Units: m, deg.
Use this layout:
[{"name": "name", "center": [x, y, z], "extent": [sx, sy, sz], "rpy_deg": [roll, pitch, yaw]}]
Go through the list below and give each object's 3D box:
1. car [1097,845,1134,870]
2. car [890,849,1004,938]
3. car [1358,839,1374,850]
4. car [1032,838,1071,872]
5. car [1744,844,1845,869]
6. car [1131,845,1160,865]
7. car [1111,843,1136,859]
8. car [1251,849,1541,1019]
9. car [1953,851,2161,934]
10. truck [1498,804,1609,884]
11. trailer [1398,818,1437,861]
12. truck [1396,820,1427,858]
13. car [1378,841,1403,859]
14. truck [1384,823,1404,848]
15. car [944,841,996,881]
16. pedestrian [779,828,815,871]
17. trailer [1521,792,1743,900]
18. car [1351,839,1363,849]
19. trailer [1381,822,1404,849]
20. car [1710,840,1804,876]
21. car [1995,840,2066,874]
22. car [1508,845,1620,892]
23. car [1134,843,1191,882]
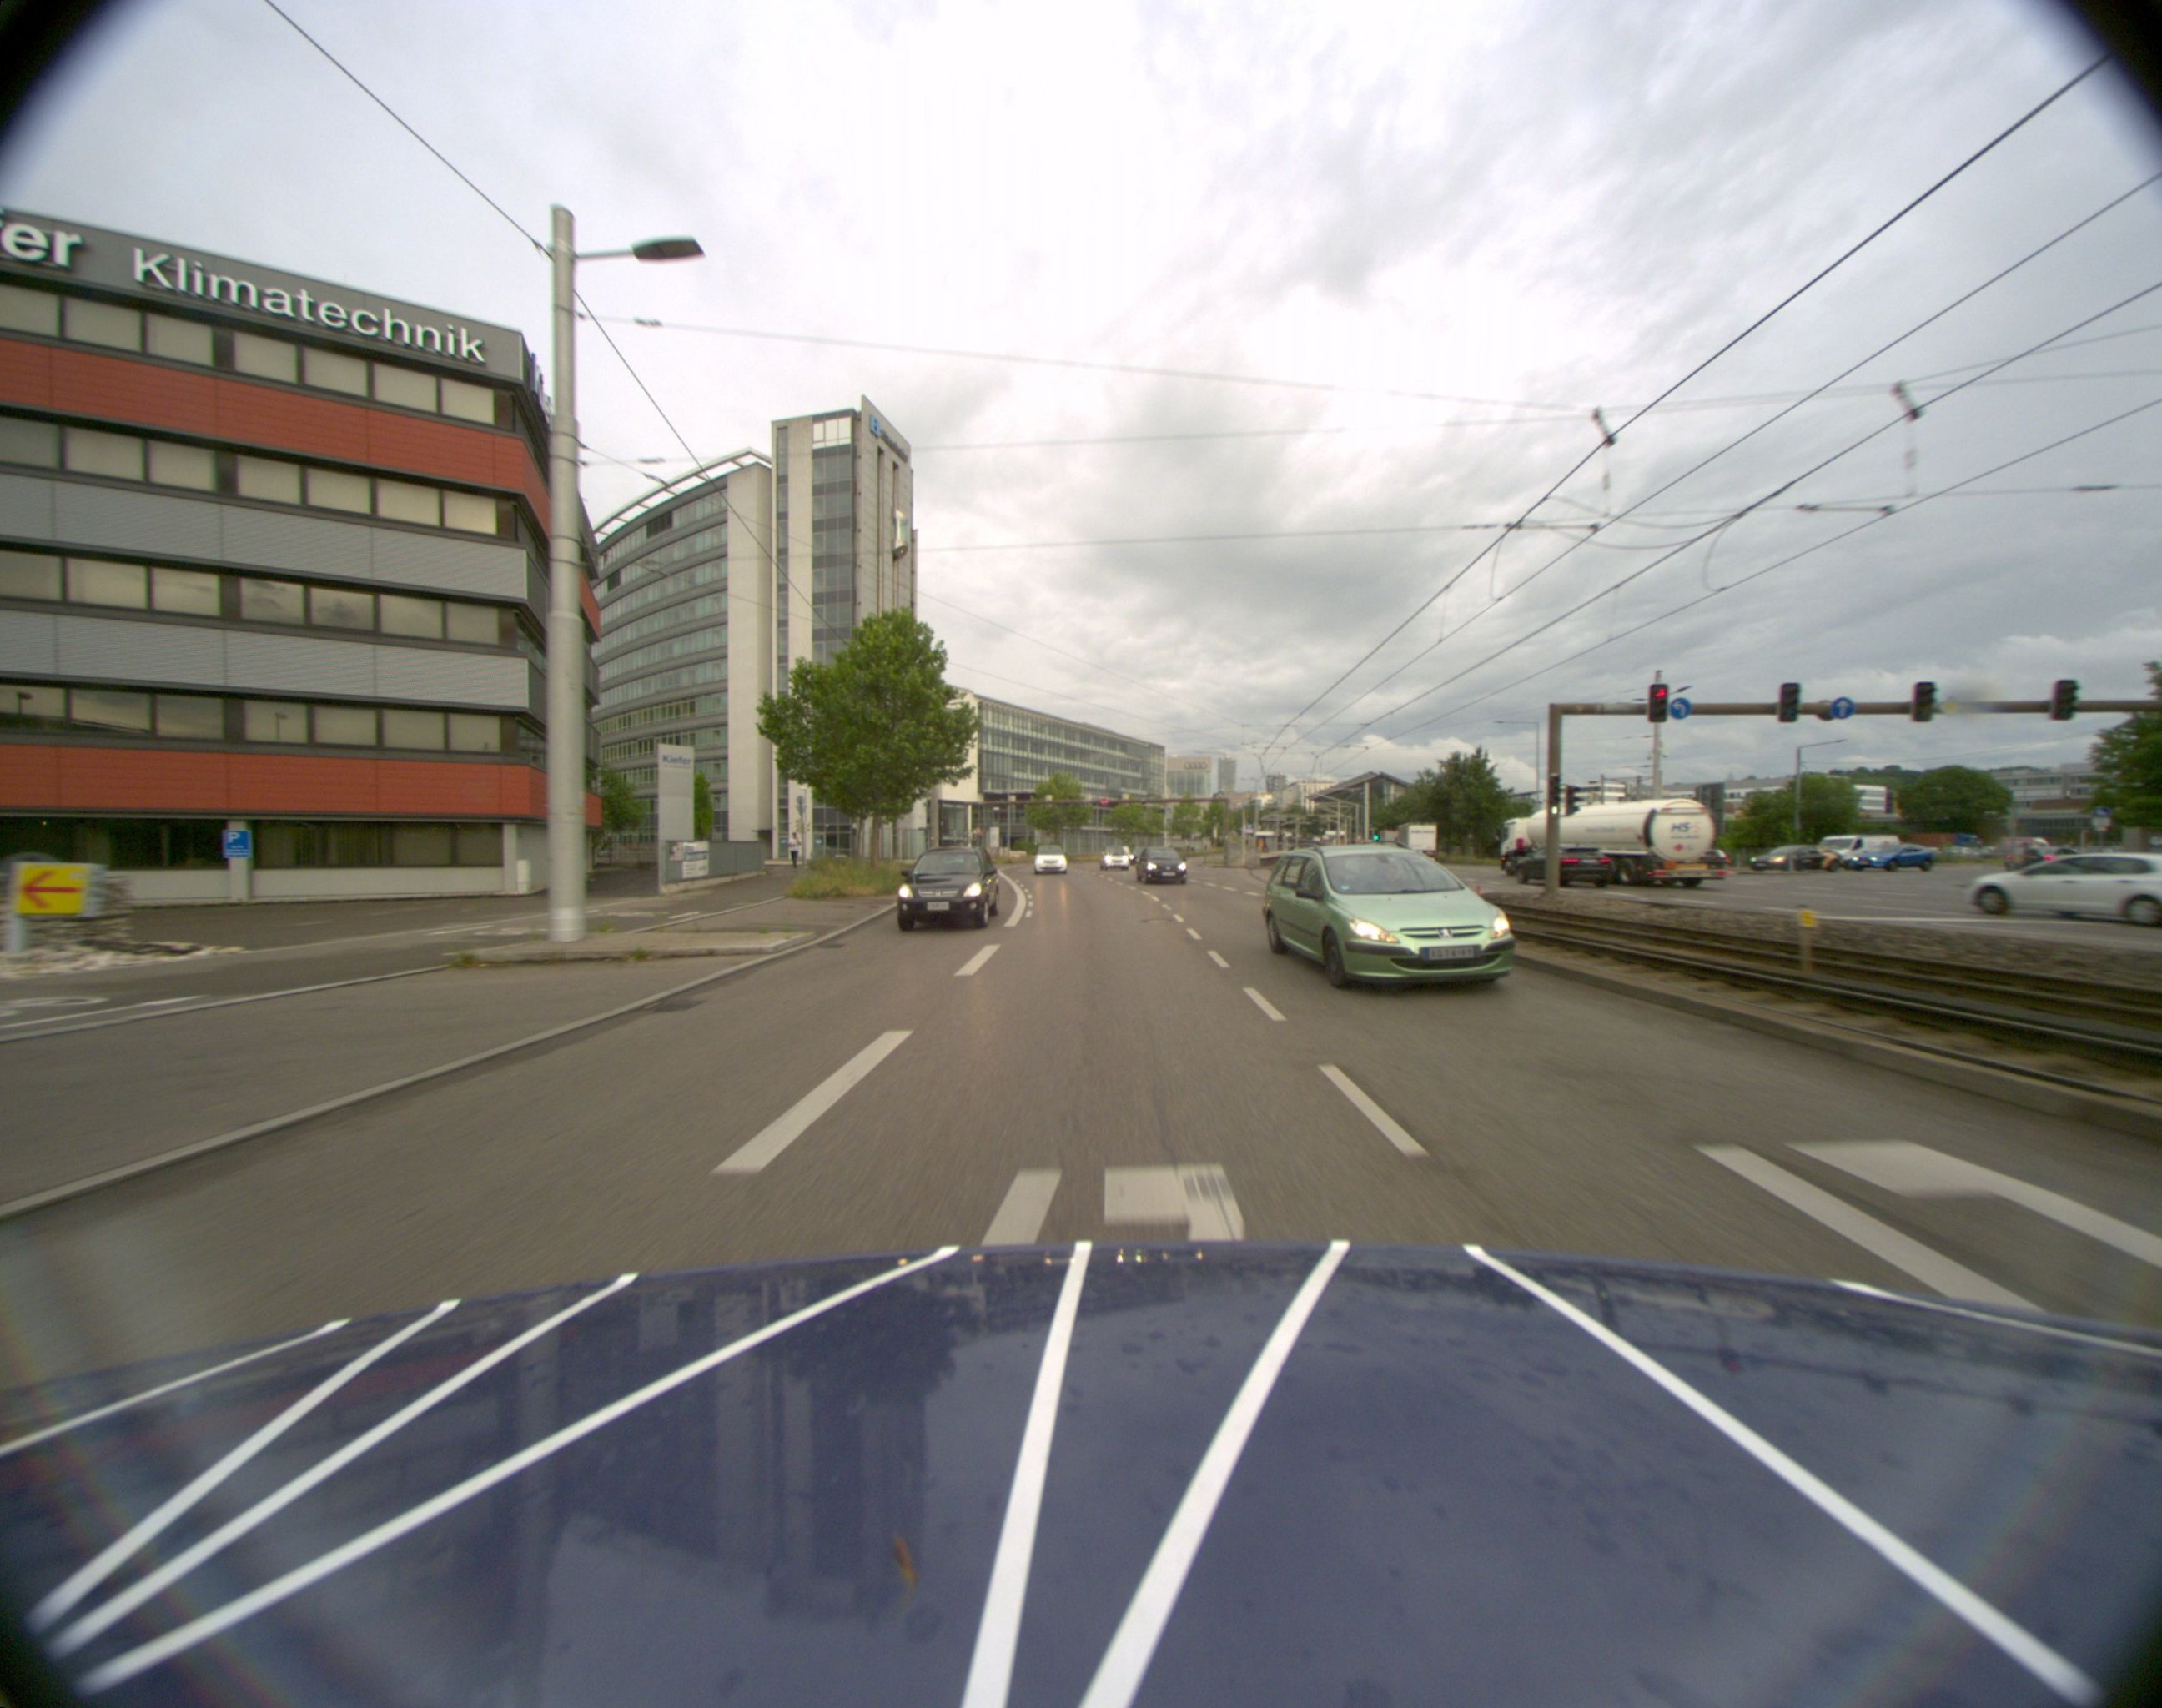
[{"name": "car", "center": [2.117, 0.205, 47.922], "extent": [1.741, 1.470, 3.997], "rpy_deg": [-2, 1, -6]}, {"name": "car", "center": [-2.796, 0.743, 16.744], "extent": [1.770, 1.620, 4.323], "rpy_deg": [-2, 1, -1]}, {"name": "car", "center": [44.144, -1.464, 117.773], "extent": [1.905, 1.546, 4.571], "rpy_deg": [-2, 1, 17]}, {"name": "car", "center": [-1.657, 0.021, 41.433], "extent": [1.806, 1.713, 3.997], "rpy_deg": [-1, 1, -7]}, {"name": "car", "center": [41.548, 0.121, 44.343], "extent": [3.997, 1.394, 2.000], "rpy_deg": [0, 1, 0]}, {"name": "car", "center": [5.759, 0.063, 67.635], "extent": [1.729, 1.583, 4.197], "rpy_deg": [-2, 1, 15]}, {"name": "car", "center": [5.076, -0.402, 89.470], "extent": [1.826, 1.701, 4.158], "rpy_deg": [-2, 1, 18]}, {"name": "car", "center": [3.426, 0.732, 9.270], "extent": [1.699, 1.460, 4.402], "rpy_deg": [-2, 1, 0]}, {"name": "car", "center": [21.202, 0.719, 15.825], "extent": [1.567, 1.502, 3.990], "rpy_deg": [0, 1, 3]}, {"name": "truck", "center": [23.947, -0.558, 38.868], "extent": [2.751, 3.784, 5.413], "rpy_deg": [1, 2, 8]}, {"name": "trailer", "center": [35.267, -1.566, 79.977], "extent": [2.652, 4.101, 12.761], "rpy_deg": [1, 2, 19]}, {"name": "truck", "center": [37.410, -1.760, 86.194], "extent": [2.669, 4.107, 6.193], "rpy_deg": [1, 2, 19]}, {"name": "car", "center": [31.965, -0.374, 78.554], "extent": [1.996, 1.826, 4.915], "rpy_deg": [0, 0, 18]}, {"name": "truck", "center": [52.273, -3.038, 126.935], "extent": [2.834, 3.973, 5.995], "rpy_deg": [0, 1, 20]}, {"name": "car", "center": [-4.850, 0.260, 33.568], "extent": [1.999, 1.669, 3.819], "rpy_deg": [0, 1, -4]}, {"name": "pedestrian", "center": [-14.308, -0.238, 38.299], "extent": [1.144, 2.114, 1.223], "rpy_deg": [1, 3, 18]}, {"name": "trailer", "center": [23.117, -0.442, 33.049], "extent": [2.730, 3.833, 11.233], "rpy_deg": [1, 2, 8]}, {"name": "car", "center": [50.265, -1.787, 138.367], "extent": [1.889, 1.643, 4.100], "rpy_deg": [-2, 1, 19]}, {"name": "trailer", "center": [49.117, -2.882, 119.684], "extent": [2.796, 4.084, 11.461], "rpy_deg": [1, 1, 24]}, {"name": "car", "center": [47.637, 0.266, 53.633], "extent": [4.743, 2.271, 2.288], "rpy_deg": [-2, 1, -4]}, {"name": "car", "center": [50.922, 0.139, 40.821], "extent": [4.653, 1.600, 1.994], "rpy_deg": [-3, 2, -43]}, {"name": "car", "center": [18.843, 0.492, 29.887], "extent": [1.927, 1.643, 4.196], "rpy_deg": [-1, 1, 4]}, {"name": "car", "center": [3.358, 0.301, 31.934], "extent": [1.698, 1.514, 3.902], "rpy_deg": [0, 1, -5]}]
